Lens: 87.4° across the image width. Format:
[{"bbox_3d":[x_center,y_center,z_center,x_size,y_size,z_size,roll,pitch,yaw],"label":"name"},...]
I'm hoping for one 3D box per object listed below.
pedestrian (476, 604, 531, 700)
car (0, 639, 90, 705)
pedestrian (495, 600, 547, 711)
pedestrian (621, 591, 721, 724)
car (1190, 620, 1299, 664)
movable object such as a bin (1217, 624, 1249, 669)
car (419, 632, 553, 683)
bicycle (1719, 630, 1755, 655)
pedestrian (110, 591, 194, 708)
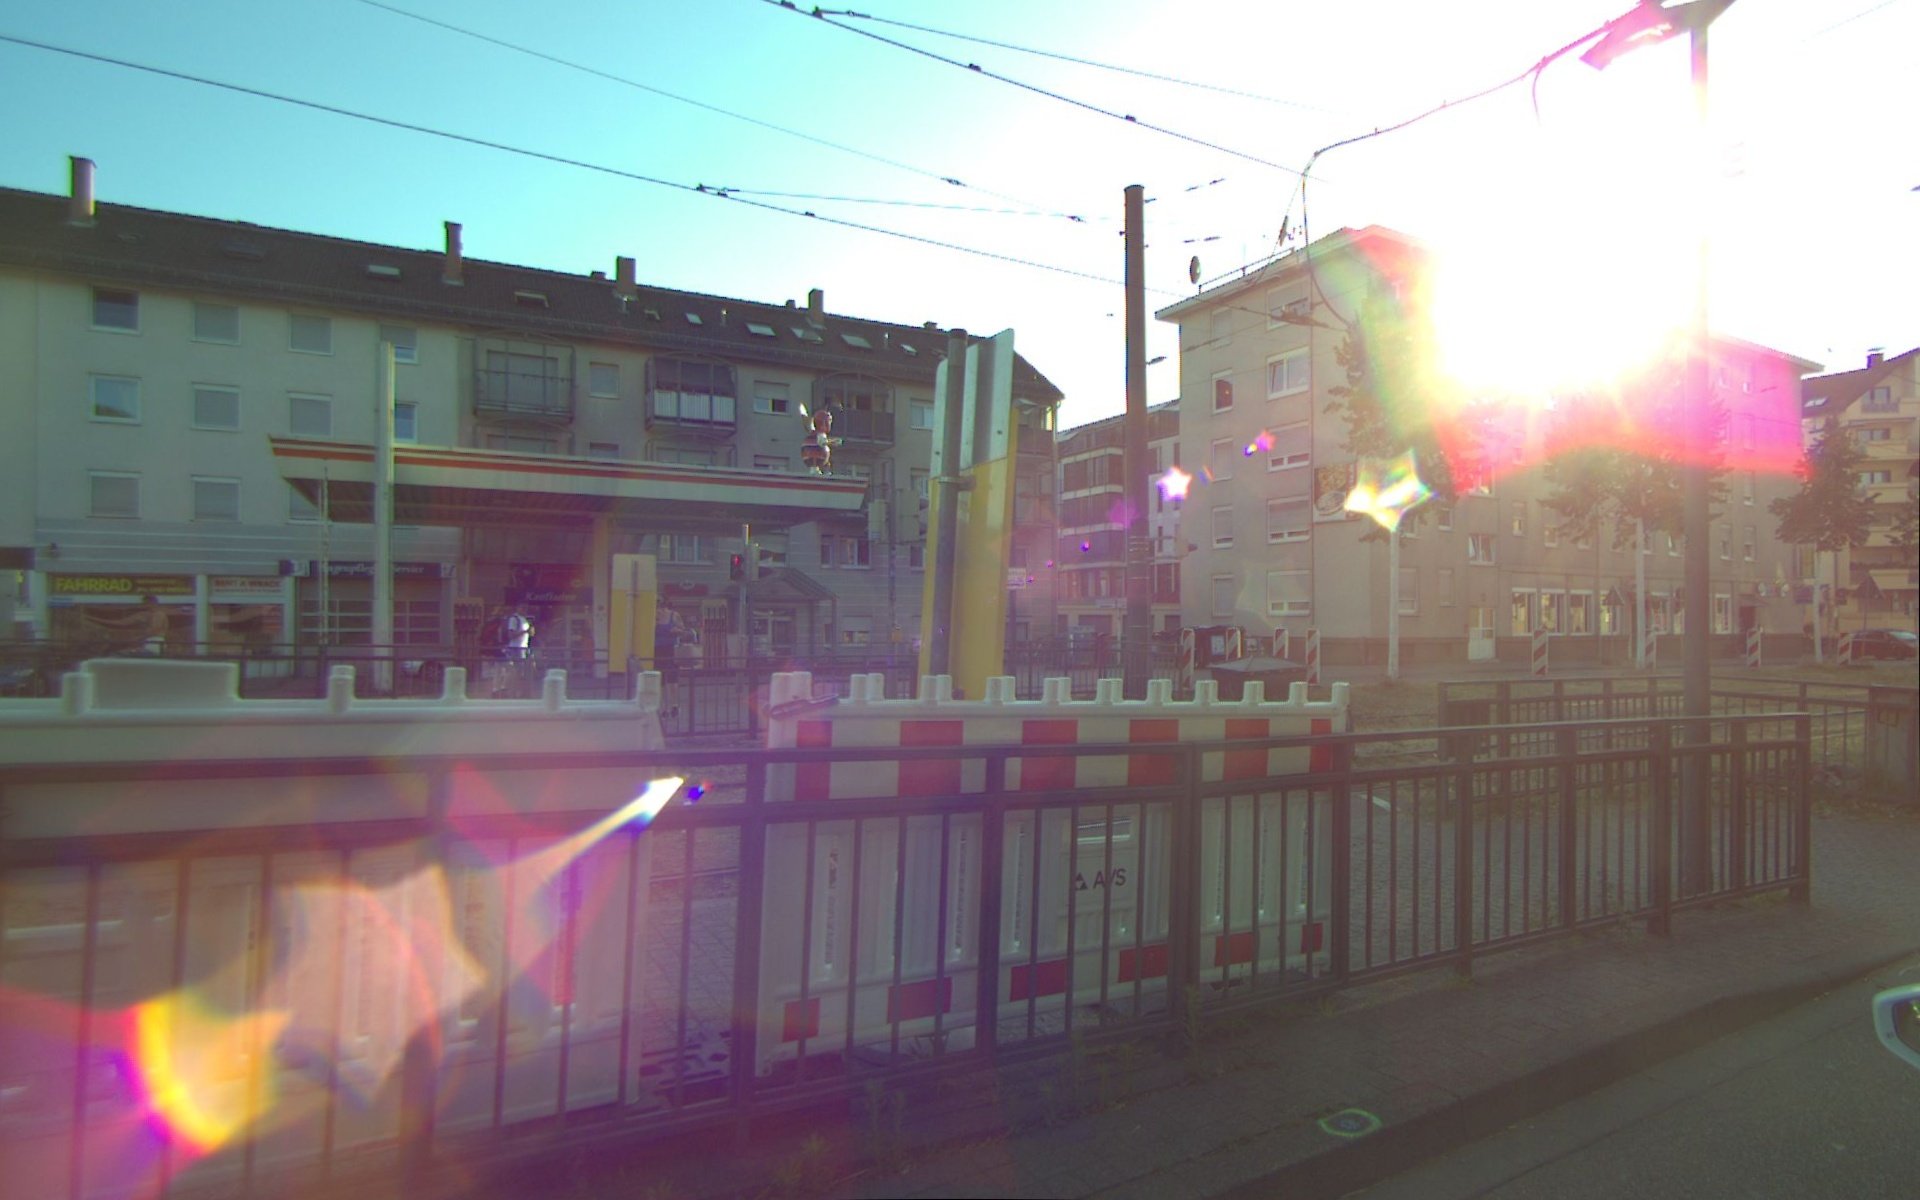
[{"bbox_3d":[-8.689,0.974,19.108,0.851,1.770,0.748,1,-1,-33],"label":"pedestrian"},{"bbox_3d":[-24.241,1.814,25.904,1.794,1.543,3.782,1,-2,-26],"label":"car"},{"bbox_3d":[-8.007,1.001,18.306,0.747,1.957,0.853,1,-1,-32],"label":"pedestrian"},{"bbox_3d":[-3.855,0.734,13.441,0.918,1.676,0.926,2,1,15],"label":"pedestrian"},{"bbox_3d":[10.518,1.570,37.385,1.795,1.532,3.802,1,-3,-28],"label":"car"},{"bbox_3d":[8.720,1.481,32.147,0.740,1.419,0.660,1,-2,-31],"label":"movable object such as a bin"},{"bbox_3d":[-15.221,1.808,32.288,3.783,1.543,1.804,1,-2,-30],"label":"car"},{"bbox_3d":[36.958,2.012,47.777,1.757,1.129,0.743,1,-2,-30],"label":"bicycle"},{"bbox_3d":[-13.690,0.811,17.048,0.989,1.907,0.749,1,2,-31],"label":"pedestrian"}]
